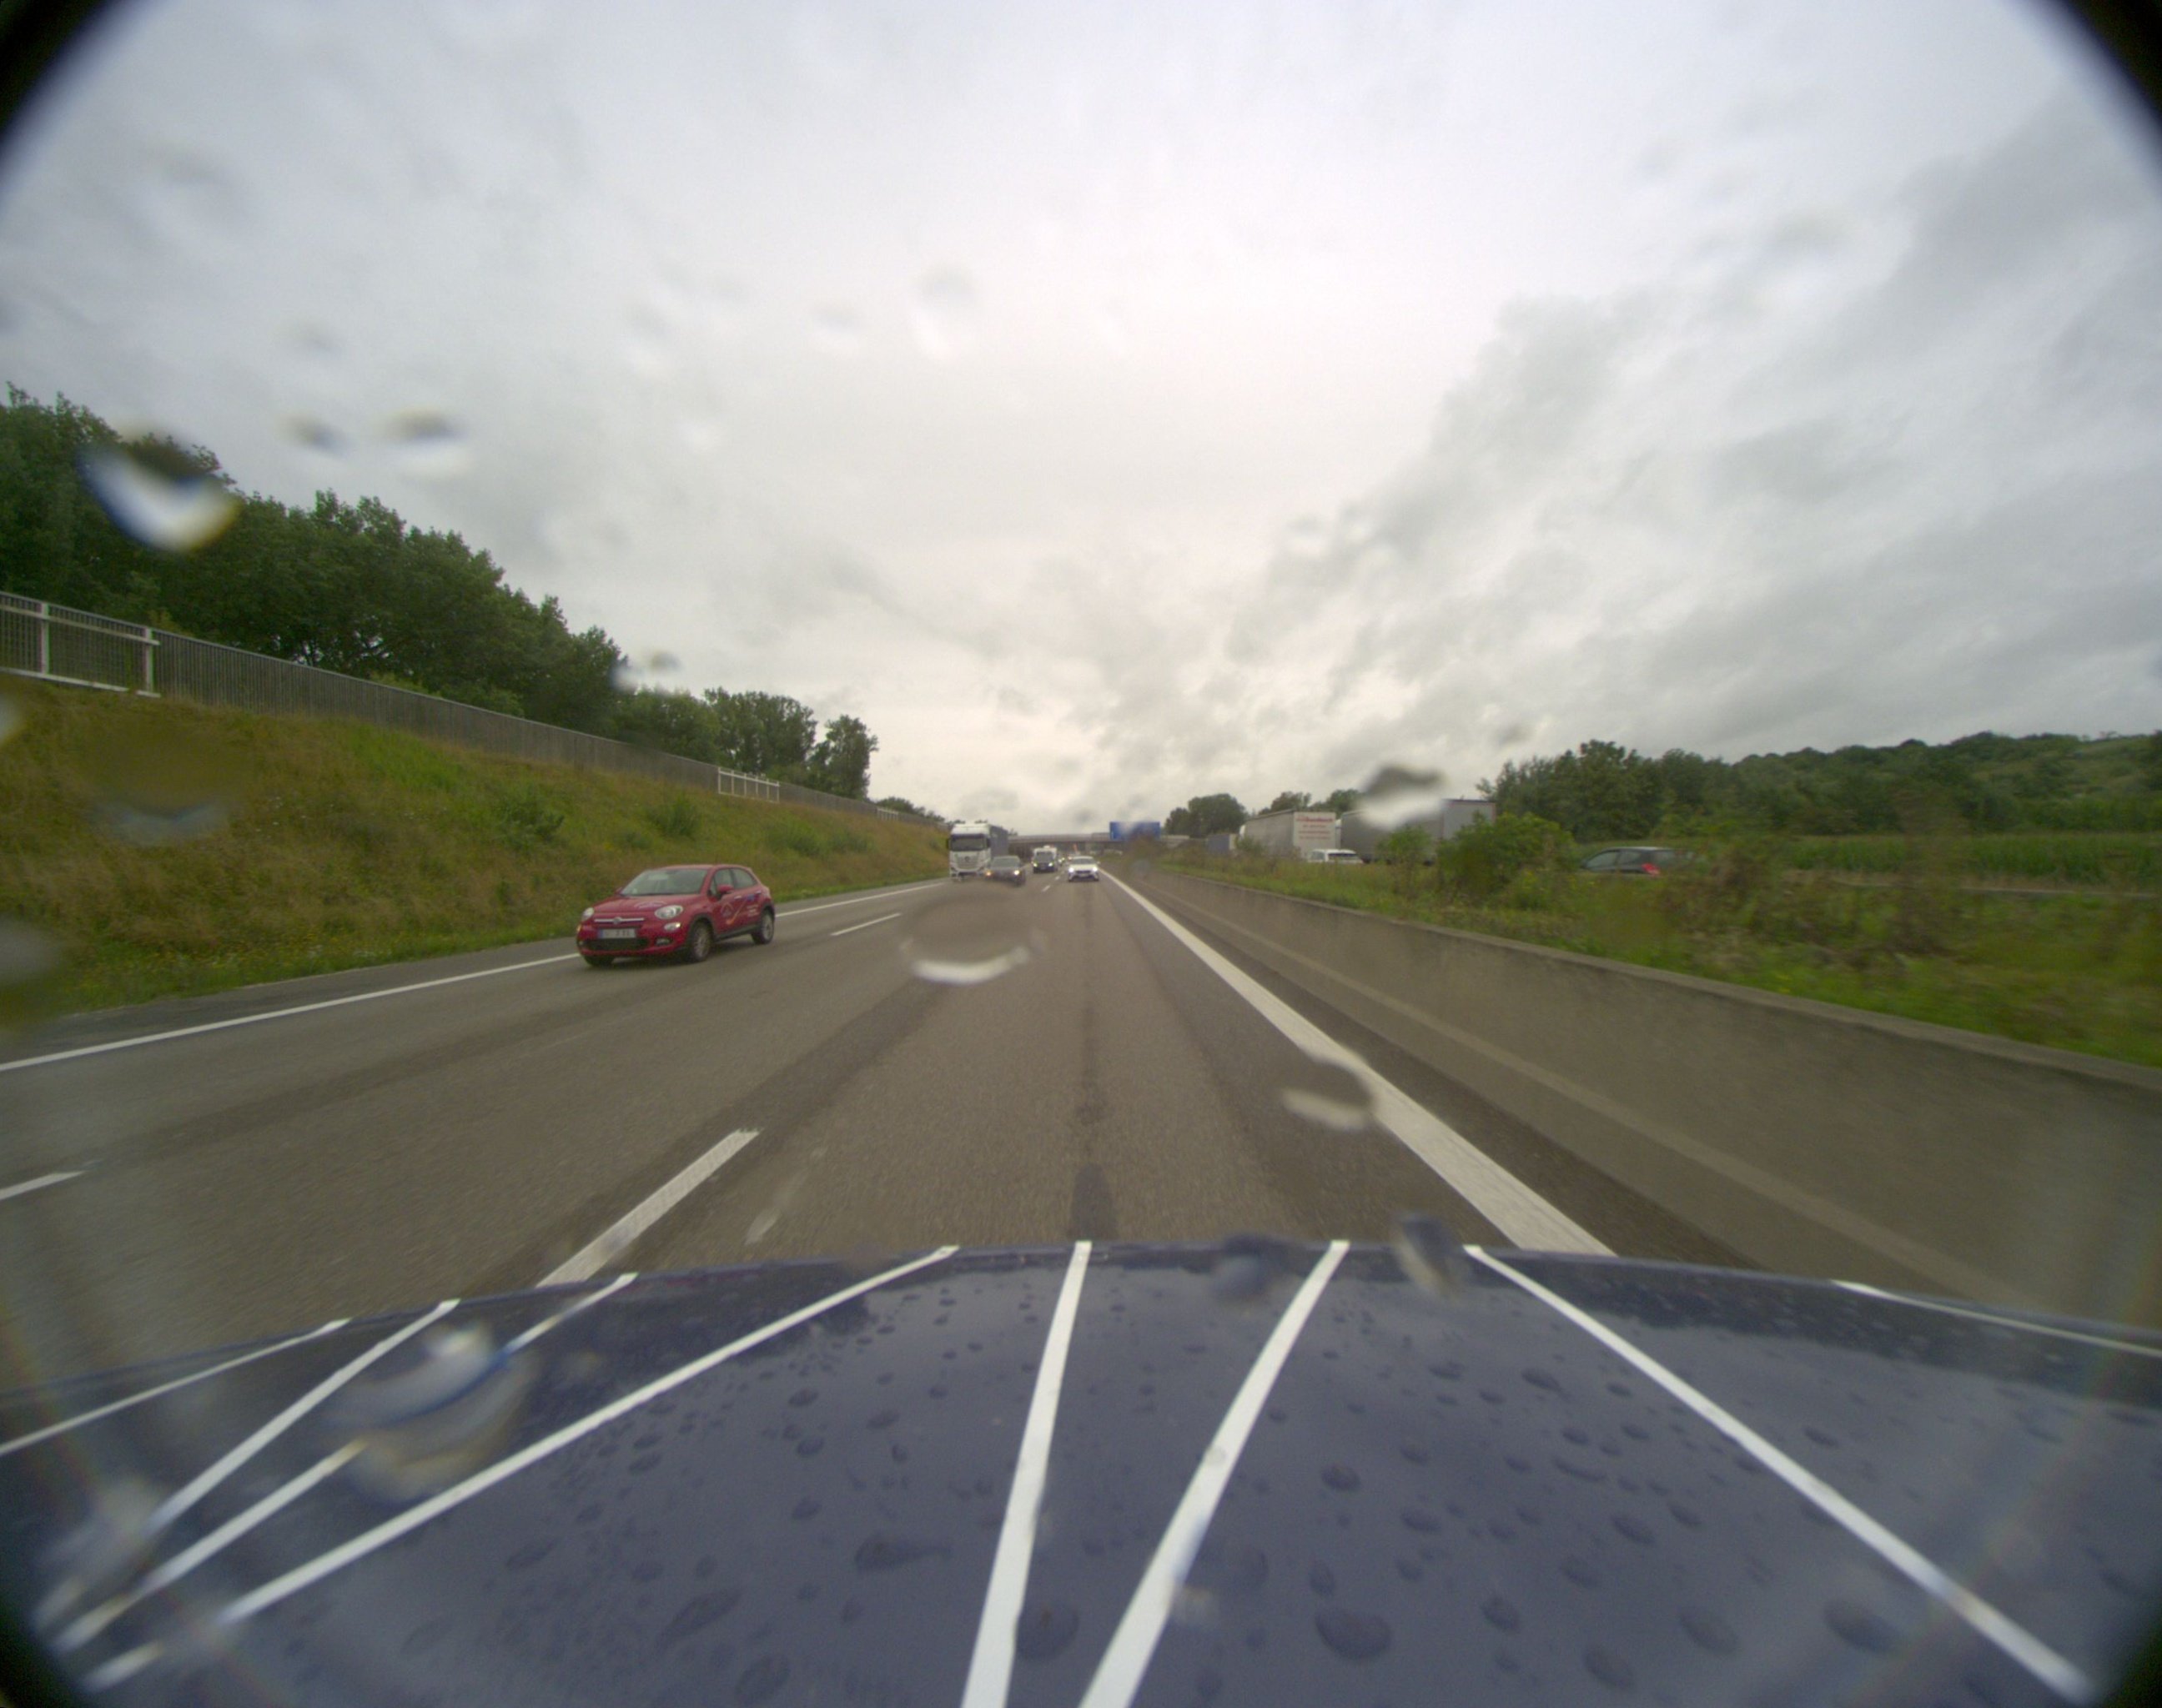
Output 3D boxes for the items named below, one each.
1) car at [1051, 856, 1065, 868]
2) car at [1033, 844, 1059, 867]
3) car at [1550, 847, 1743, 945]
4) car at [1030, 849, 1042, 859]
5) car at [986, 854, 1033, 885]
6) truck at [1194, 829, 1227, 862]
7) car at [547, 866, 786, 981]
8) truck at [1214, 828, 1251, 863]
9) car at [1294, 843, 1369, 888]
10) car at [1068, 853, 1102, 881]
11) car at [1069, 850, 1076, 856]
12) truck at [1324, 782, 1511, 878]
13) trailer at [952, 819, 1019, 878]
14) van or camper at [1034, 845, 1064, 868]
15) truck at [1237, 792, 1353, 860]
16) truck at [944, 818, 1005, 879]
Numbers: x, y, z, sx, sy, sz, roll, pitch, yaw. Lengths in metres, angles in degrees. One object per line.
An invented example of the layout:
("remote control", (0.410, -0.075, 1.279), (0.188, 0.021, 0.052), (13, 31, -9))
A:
("car", (-3.491, 1.233, 116.491), (1.998, 1.759, 4.000), (0, 0, 1))
("car", (-3.331, 0.103, 73.428), (1.998, 2.002, 4.938), (-2, 1, 3))
("car", (13.708, 0.917, 18.761), (1.813, 2.002, 3.999), (-2, 2, 1))
("car", (-8.624, -0.014, 146.938), (1.998, 2.002, 4.263), (-1, 0, 1))
("car", (-3.811, 0.811, 41.194), (1.929, 1.480, 4.485), (-2, 1, 2))
("truck", (17.561, -1.177, 103.460), (2.929, 4.253, 8.194), (-1, 0, -1))
("car", (-6.921, 1.062, 13.274), (1.878, 1.526, 3.999), (-2, 1, 1))
("truck", (17.915, -0.982, 90.276), (2.455, 3.952, 8.768), (-1, 0, -1))
("car", (9.899, 0.406, 30.351), (1.678, 1.630, 3.999), (-2, 1, 1))
("car", (0.271, 0.755, 45.625), (1.840, 1.455, 4.000), (-2, 1, 2))
("car", (-2.522, -0.326, 216.293), (1.999, 1.696, 4.484), (-2, 0, -1))
("truck", (18.288, -1.211, 43.580), (3.333, 4.317, 16.899), (-2, 1, 1))
("trailer", (-7.351, -0.489, 61.044), (3.089, 4.003, 15.221), (-2, 1, 1))
("van or camper", (-3.205, 0.187, 78.333), (2.432, 2.139, 6.498), (-2, 1, 3))
("truck", (14.271, -1.750, 52.854), (3.609, 3.858, 16.109), (-2, 1, 1))
("truck", (-7.469, -0.407, 54.120), (3.089, 4.003, 6.956), (-2, 1, 1))
